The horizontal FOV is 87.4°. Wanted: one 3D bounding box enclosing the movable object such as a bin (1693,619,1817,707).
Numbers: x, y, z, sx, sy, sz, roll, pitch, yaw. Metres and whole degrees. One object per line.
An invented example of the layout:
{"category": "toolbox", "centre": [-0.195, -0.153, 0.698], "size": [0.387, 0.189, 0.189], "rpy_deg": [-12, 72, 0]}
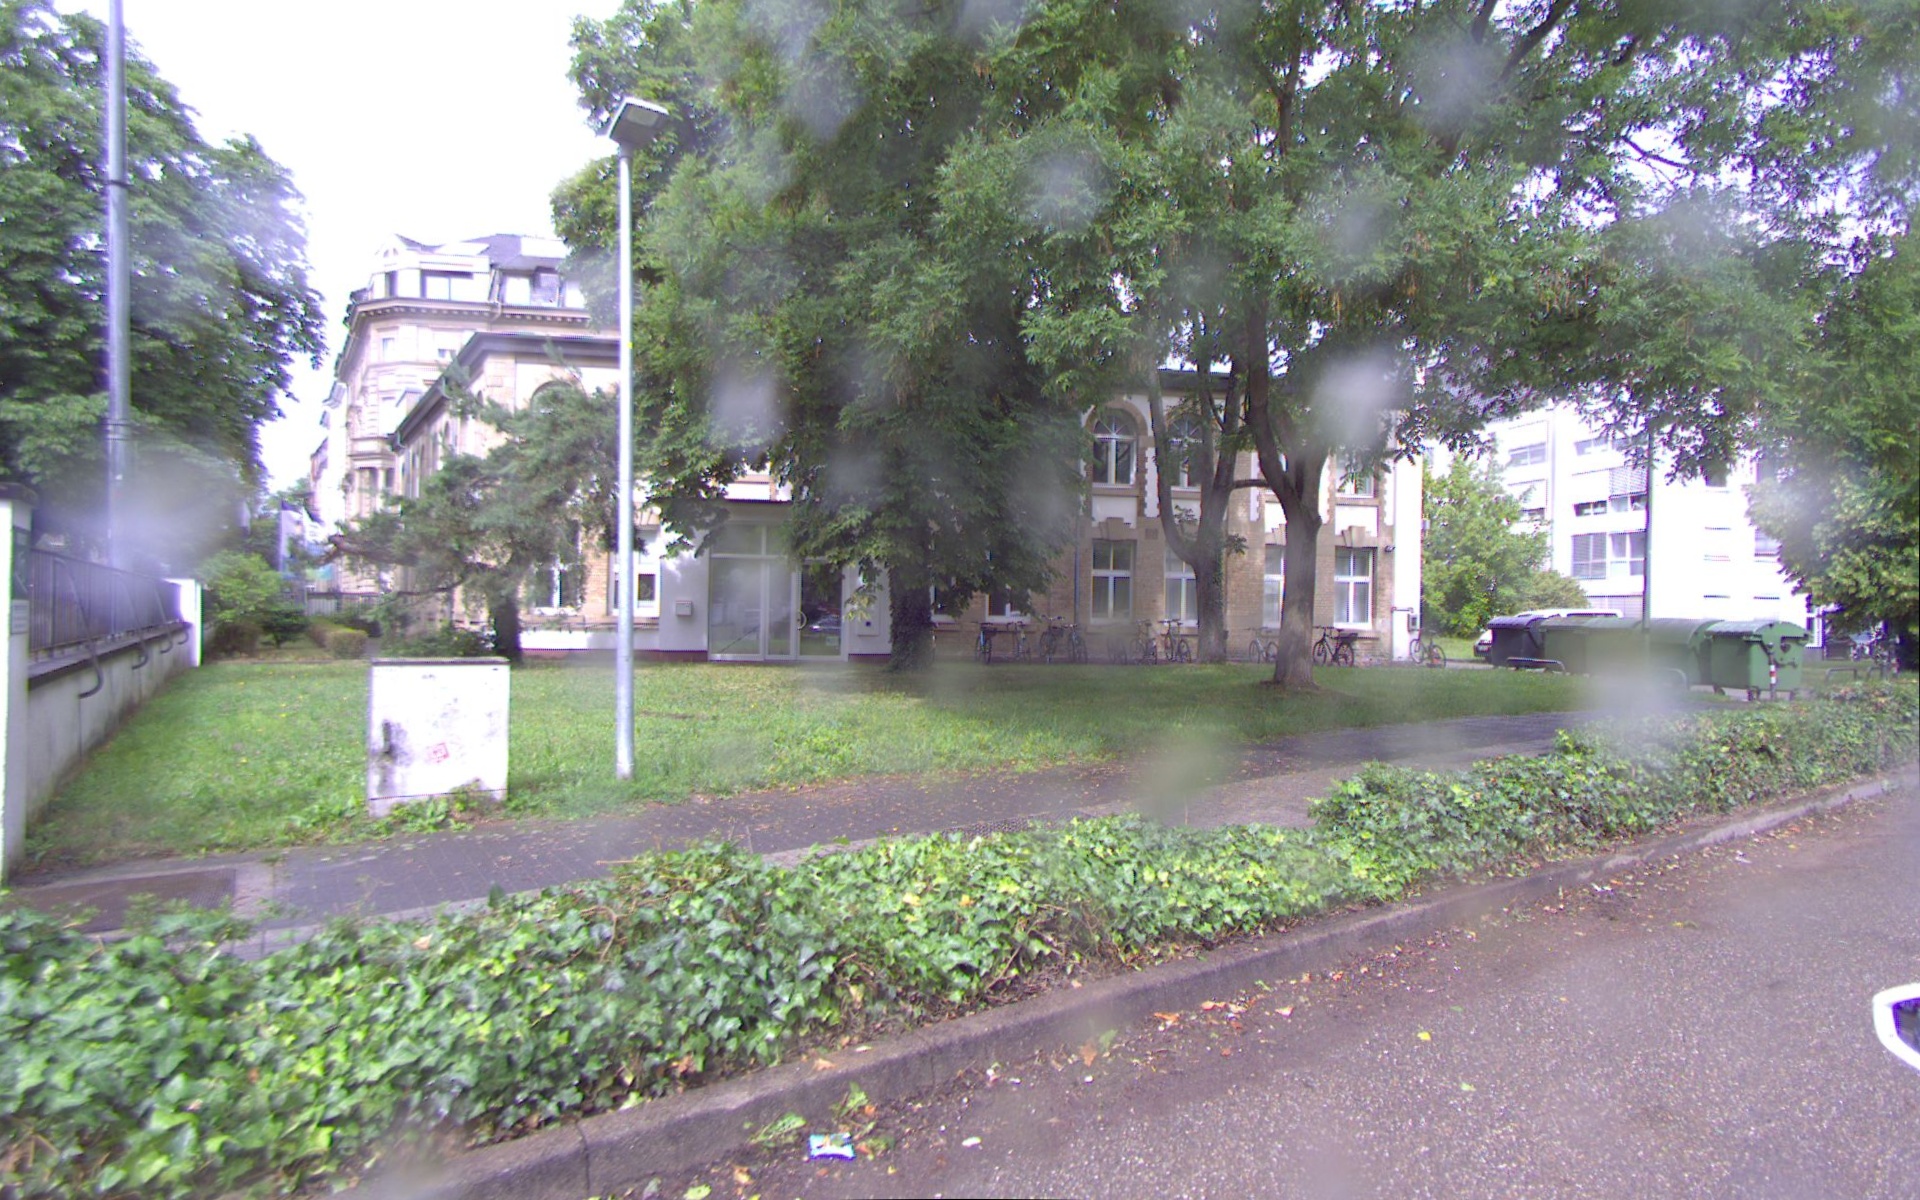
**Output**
{"category": "movable object such as a bin", "centre": [14.464, 1.121, 18.328], "size": [1.082, 1.492, 1.486], "rpy_deg": [2, -1, 2]}

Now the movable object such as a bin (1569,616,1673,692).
{"category": "movable object such as a bin", "centre": [13.953, 1.120, 21.245], "size": [1.148, 1.503, 1.399], "rpy_deg": [2, 0, -12]}

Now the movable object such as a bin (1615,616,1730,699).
{"category": "movable object such as a bin", "centre": [14.007, 1.117, 19.799], "size": [1.148, 1.503, 1.398], "rpy_deg": [2, 1, -14]}

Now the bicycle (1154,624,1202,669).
{"category": "bicycle", "centre": [5.648, 1.187, 26.078], "size": [0.606, 1.131, 1.924], "rpy_deg": [0, -1, -8]}

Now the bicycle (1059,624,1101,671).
{"category": "bicycle", "centre": [3.039, 1.189, 25.636], "size": [0.606, 1.131, 1.924], "rpy_deg": [0, -1, -8]}

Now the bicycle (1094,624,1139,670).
{"category": "bicycle", "centre": [4.007, 1.190, 25.846], "size": [0.606, 1.131, 1.924], "rpy_deg": [0, -1, -8]}

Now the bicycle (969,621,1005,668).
{"category": "bicycle", "centre": [0.657, 1.084, 25.078], "size": [0.606, 1.131, 1.924], "rpy_deg": [0, -1, -8]}

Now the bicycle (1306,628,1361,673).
{"category": "bicycle", "centre": [9.914, 1.323, 26.751], "size": [0.606, 1.131, 1.786], "rpy_deg": [0, -1, -8]}

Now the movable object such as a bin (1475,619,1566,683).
{"category": "movable object such as a bin", "centre": [13.501, 1.202, 24.248], "size": [1.148, 1.503, 1.591], "rpy_deg": [0, -1, -13]}

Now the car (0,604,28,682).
{"category": "car", "centre": [-20.675, 0.878, 20.484], "size": [1.894, 1.571, 3.340], "rpy_deg": [0, -1, -33]}

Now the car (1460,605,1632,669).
{"category": "car", "centre": [20.120, 1.275, 34.608], "size": [4.798, 1.951, 2.098], "rpy_deg": [2, -2, -6]}

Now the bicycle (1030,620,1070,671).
{"category": "bicycle", "centre": [2.266, 1.133, 25.467], "size": [0.606, 1.193, 1.924], "rpy_deg": [1, 0, -8]}

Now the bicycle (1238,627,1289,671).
{"category": "bicycle", "centre": [7.979, 1.272, 26.447], "size": [0.606, 1.131, 1.786], "rpy_deg": [0, -1, -8]}

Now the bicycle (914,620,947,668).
{"category": "bicycle", "centre": [-0.741, 1.065, 24.861], "size": [0.606, 1.131, 1.924], "rpy_deg": [0, -1, -8]}

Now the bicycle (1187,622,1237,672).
{"category": "bicycle", "centre": [6.551, 1.200, 26.204], "size": [0.606, 1.241, 1.924], "rpy_deg": [0, -1, -8]}

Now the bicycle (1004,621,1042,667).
{"category": "bicycle", "centre": [1.576, 1.096, 25.435], "size": [0.606, 1.131, 1.924], "rpy_deg": [0, -1, -8]}

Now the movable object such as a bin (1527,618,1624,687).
{"category": "movable object such as a bin", "centre": [13.906, 1.152, 22.737], "size": [1.148, 1.503, 1.493], "rpy_deg": [0, -1, -13]}

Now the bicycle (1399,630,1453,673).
{"category": "bicycle", "centre": [12.600, 1.379, 27.186], "size": [0.606, 1.131, 1.518], "rpy_deg": [0, -1, -8]}

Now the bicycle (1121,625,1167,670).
{"category": "bicycle", "centre": [4.726, 1.202, 25.869], "size": [0.606, 1.131, 1.924], "rpy_deg": [0, -1, -8]}

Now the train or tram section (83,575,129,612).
{"category": "train or tram section", "centre": [-92.926, -0.745, 109.428], "size": [2.993, 3.925, 9.478], "rpy_deg": [0, 1, -35]}
